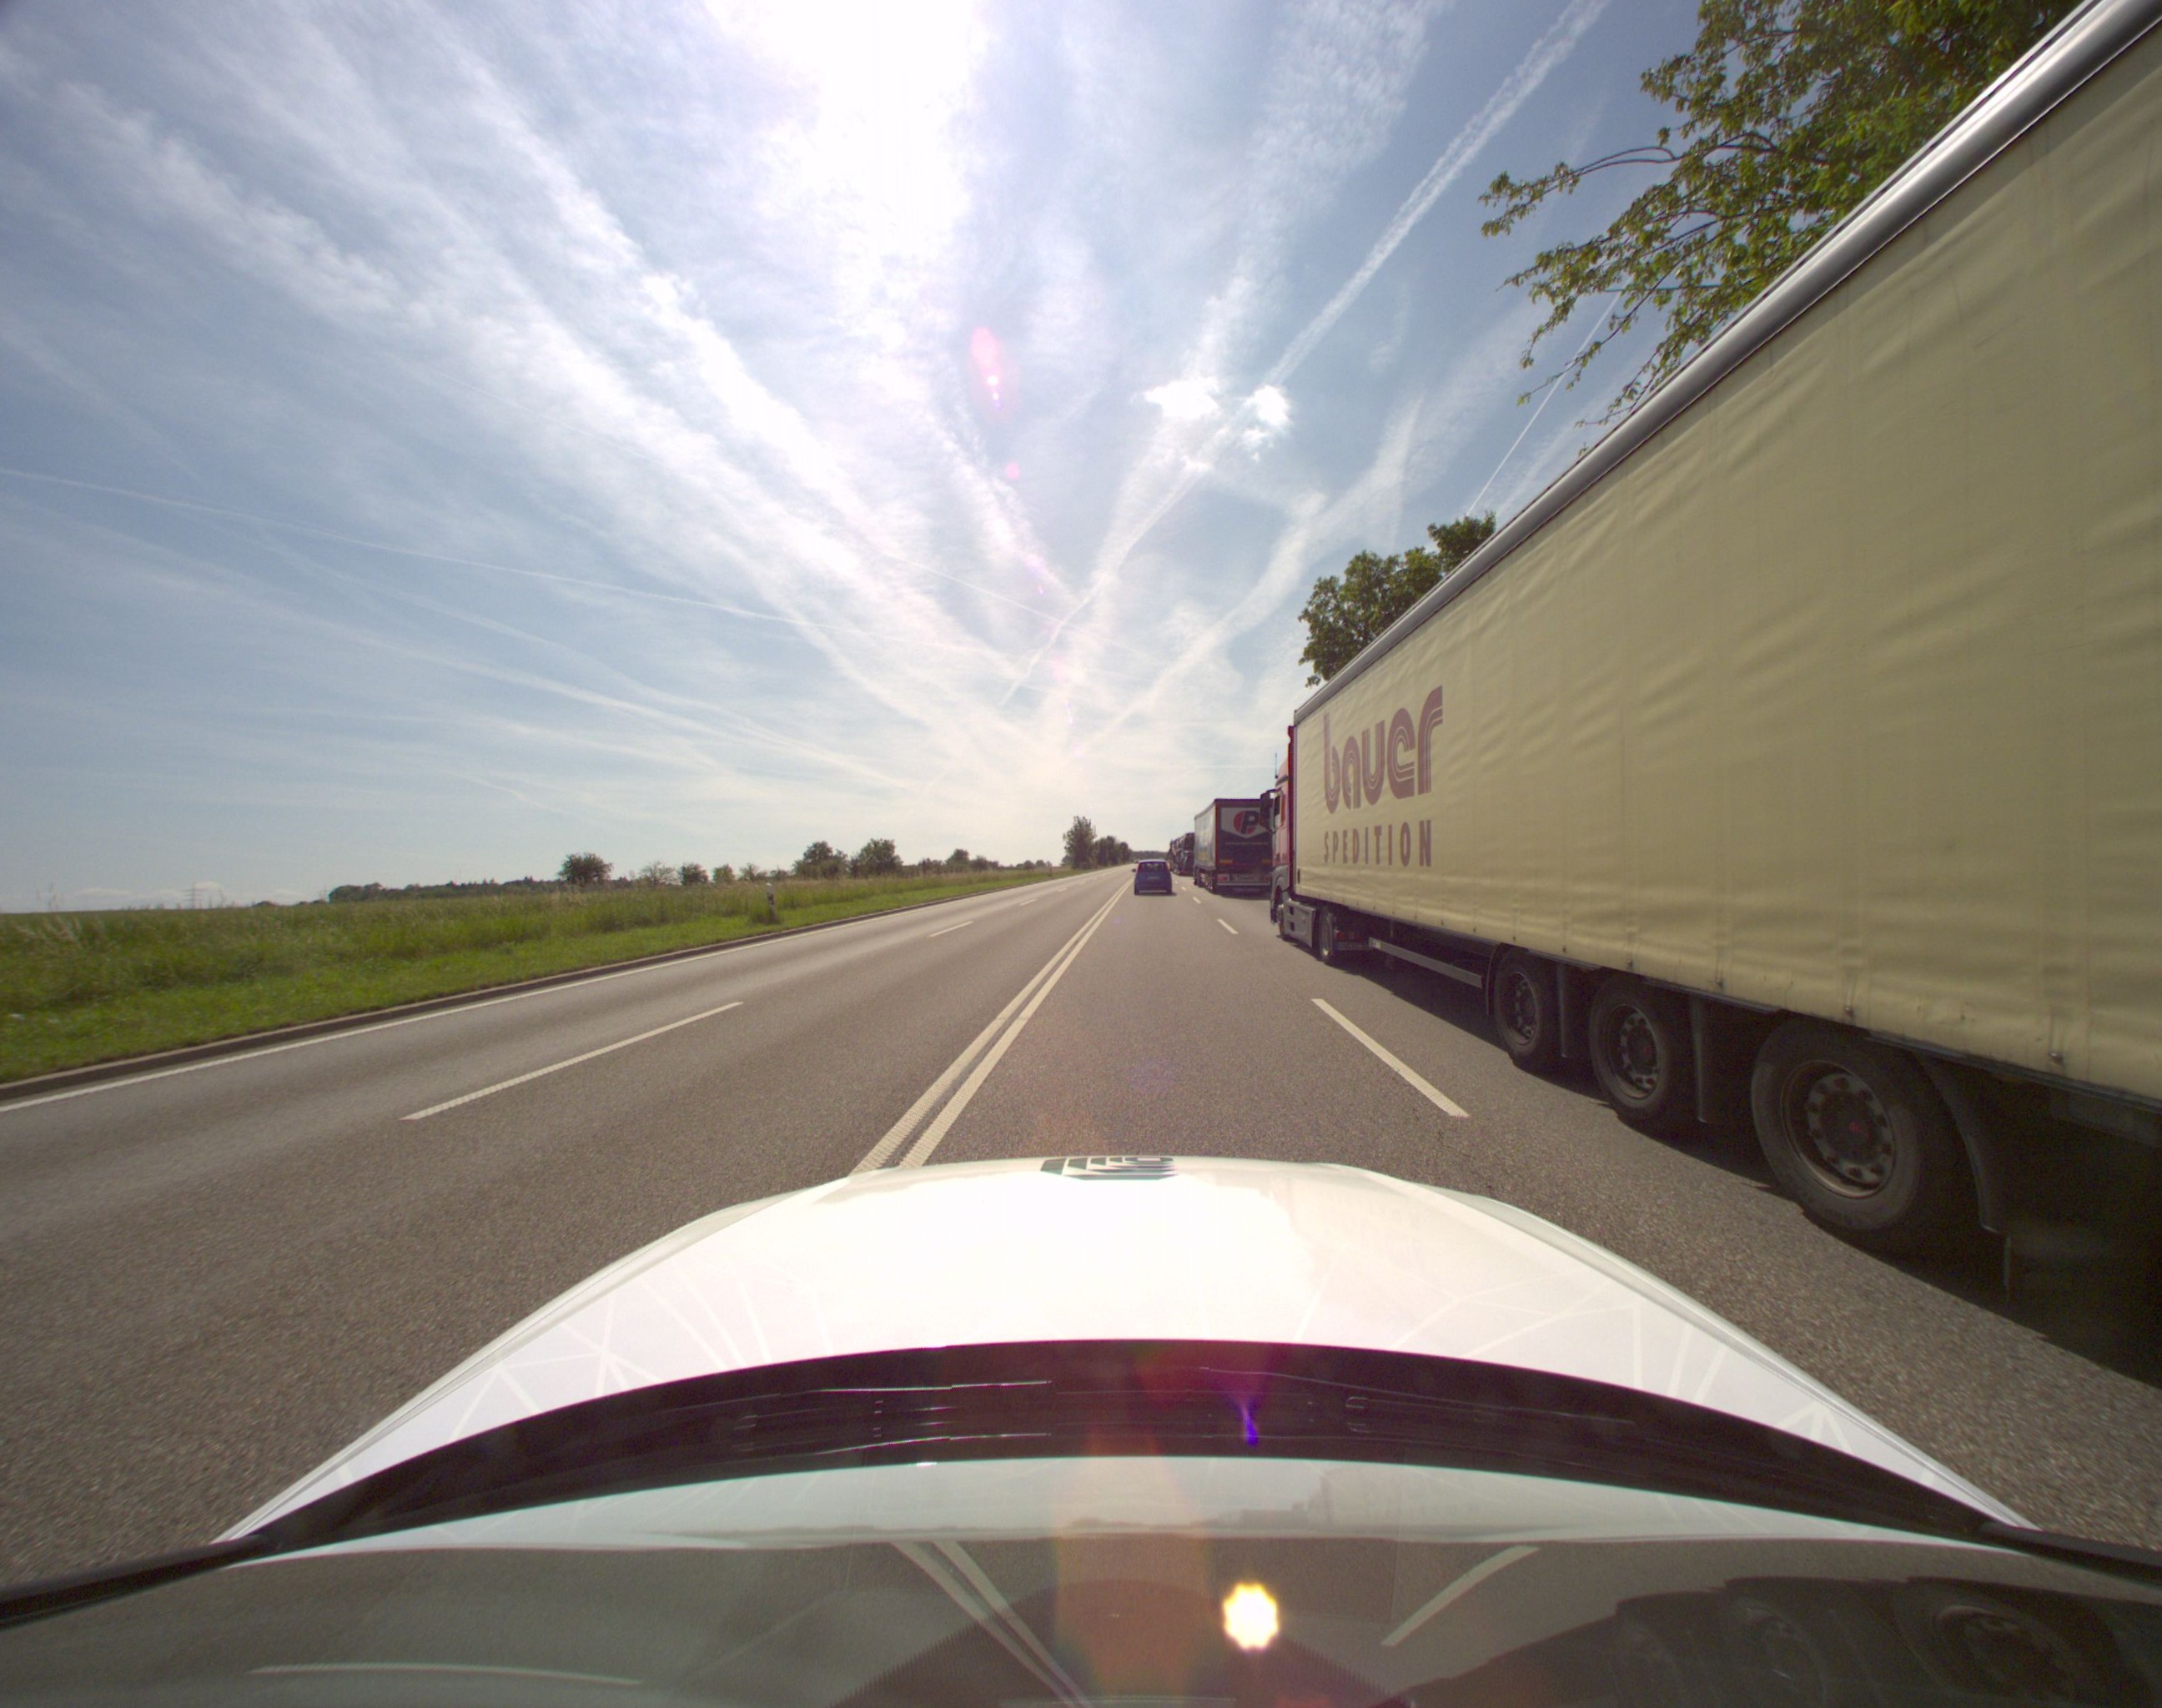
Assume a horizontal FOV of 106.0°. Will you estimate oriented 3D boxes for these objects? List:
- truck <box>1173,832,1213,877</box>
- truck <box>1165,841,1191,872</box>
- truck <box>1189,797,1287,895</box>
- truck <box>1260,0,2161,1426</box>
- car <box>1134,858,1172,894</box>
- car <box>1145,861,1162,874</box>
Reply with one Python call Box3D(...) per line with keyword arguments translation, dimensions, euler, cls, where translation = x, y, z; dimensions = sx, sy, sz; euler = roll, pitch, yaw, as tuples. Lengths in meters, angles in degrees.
Box3D(translation=(10.803, 0.108, 80.301), dimensions=(3.032, 3.910, 18.421), euler=(0, -1, 5), cls="truck")
Box3D(translation=(13.149, 0.375, 111.898), dimensions=(3.032, 3.910, 18.421), euler=(0, -1, 5), cls="truck")
Box3D(translation=(7.351, -0.249, 40.616), dimensions=(3.033, 3.910, 15.633), euler=(0, -1, 4), cls="truck")
Box3D(translation=(4.699, -0.577, 8.602), dimensions=(2.994, 4.180, 16.730), euler=(-1, -1, 4), cls="truck")
Box3D(translation=(3.319, 0.971, 37.121), dimensions=(1.623, 1.531, 3.921), euler=(-1, -1, 6), cls="car")
Box3D(translation=(8.054, 1.473, 90.684), dimensions=(1.696, 1.376, 4.607), euler=(0, -1, 3), cls="car")
